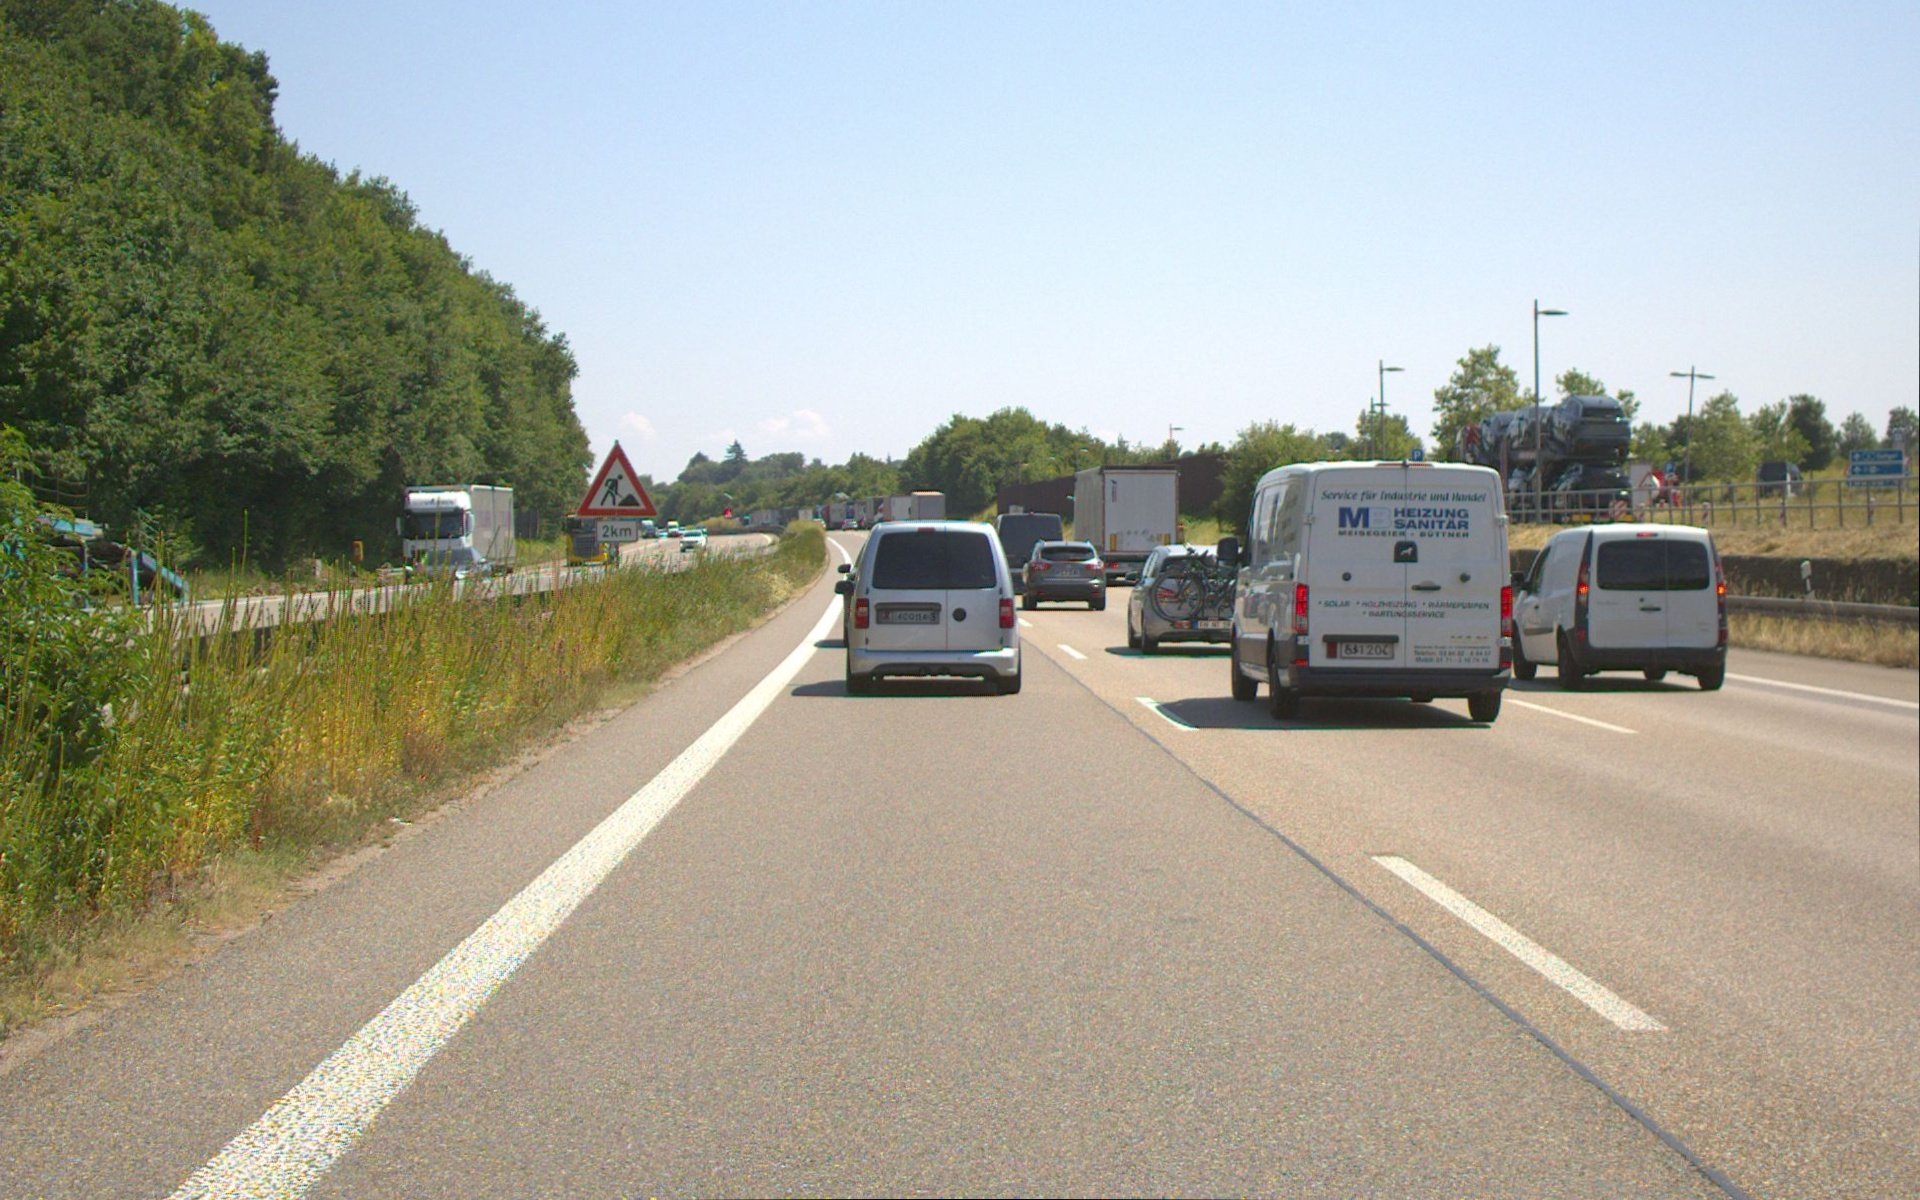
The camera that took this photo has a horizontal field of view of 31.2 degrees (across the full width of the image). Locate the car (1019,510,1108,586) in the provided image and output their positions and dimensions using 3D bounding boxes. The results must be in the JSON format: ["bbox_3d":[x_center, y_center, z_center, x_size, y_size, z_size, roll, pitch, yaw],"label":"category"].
[{"bbox_3d":[2.354,-1.194,79.019,1.902,1.666,4.088,-1,1,0],"label":"car"}]

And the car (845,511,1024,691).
[{"bbox_3d":[-0.238,-0.018,36.188,1.745,1.758,4.088,-1,1,0],"label":"car"}]

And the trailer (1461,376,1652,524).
[{"bbox_3d":[19.388,-4.741,113.220,2.605,4.243,18.423,1,1,-1],"label":"trailer"}]

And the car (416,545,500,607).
[{"bbox_3d":[-14.367,-0.704,98.530,1.724,1.650,4.861,-2,1,-1],"label":"car"}]

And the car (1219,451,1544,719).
[{"bbox_3d":[3.768,-0.160,31.779,2.181,2.246,5.364,1,1,-2],"label":"car"}]

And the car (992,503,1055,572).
[{"bbox_3d":[1.756,-1.742,96.417,1.674,1.885,4.088,-1,1,0],"label":"car"}]

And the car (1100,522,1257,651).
[{"bbox_3d":[3.055,-0.208,48.793,1.976,1.727,4.088,-1,1,0],"label":"car"}]

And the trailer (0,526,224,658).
[{"bbox_3d":[-18.403,-0.217,74.249,3.146,2.630,8.531,1,1,0],"label":"trailer"}]

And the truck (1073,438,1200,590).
[{"bbox_3d":[6.066,-2.922,120.292,3.788,4.982,12.519,1,1,0],"label":"truck"}]

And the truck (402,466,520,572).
[{"bbox_3d":[-19.766,-3.195,136.899,3.453,3.980,11.125,-1,1,-2],"label":"truck"}]

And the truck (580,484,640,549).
[{"bbox_3d":[-21.205,-5.029,208.887,2.782,3.726,11.159,1,1,-2],"label":"truck"}]

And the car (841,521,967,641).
[{"bbox_3d":[-0.801,-0.303,51.596,1.745,1.695,4.088,-1,1,1],"label":"car"}]

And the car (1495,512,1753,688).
[{"bbox_3d":[7.371,-0.030,38.569,1.950,1.831,4.179,-1,1,-2],"label":"car"}]

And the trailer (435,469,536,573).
[{"bbox_3d":[-20.156,-3.334,146.386,3.453,4.265,7.971,1,1,-2],"label":"trailer"}]

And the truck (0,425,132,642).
[{"bbox_3d":[-18.328,-1.216,64.641,2.996,3.789,10.790,-1,1,-1],"label":"truck"}]

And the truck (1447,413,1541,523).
[{"bbox_3d":[19.170,-4.718,123.574,2.602,3.814,4.000,1,1,-1],"label":"truck"}]
